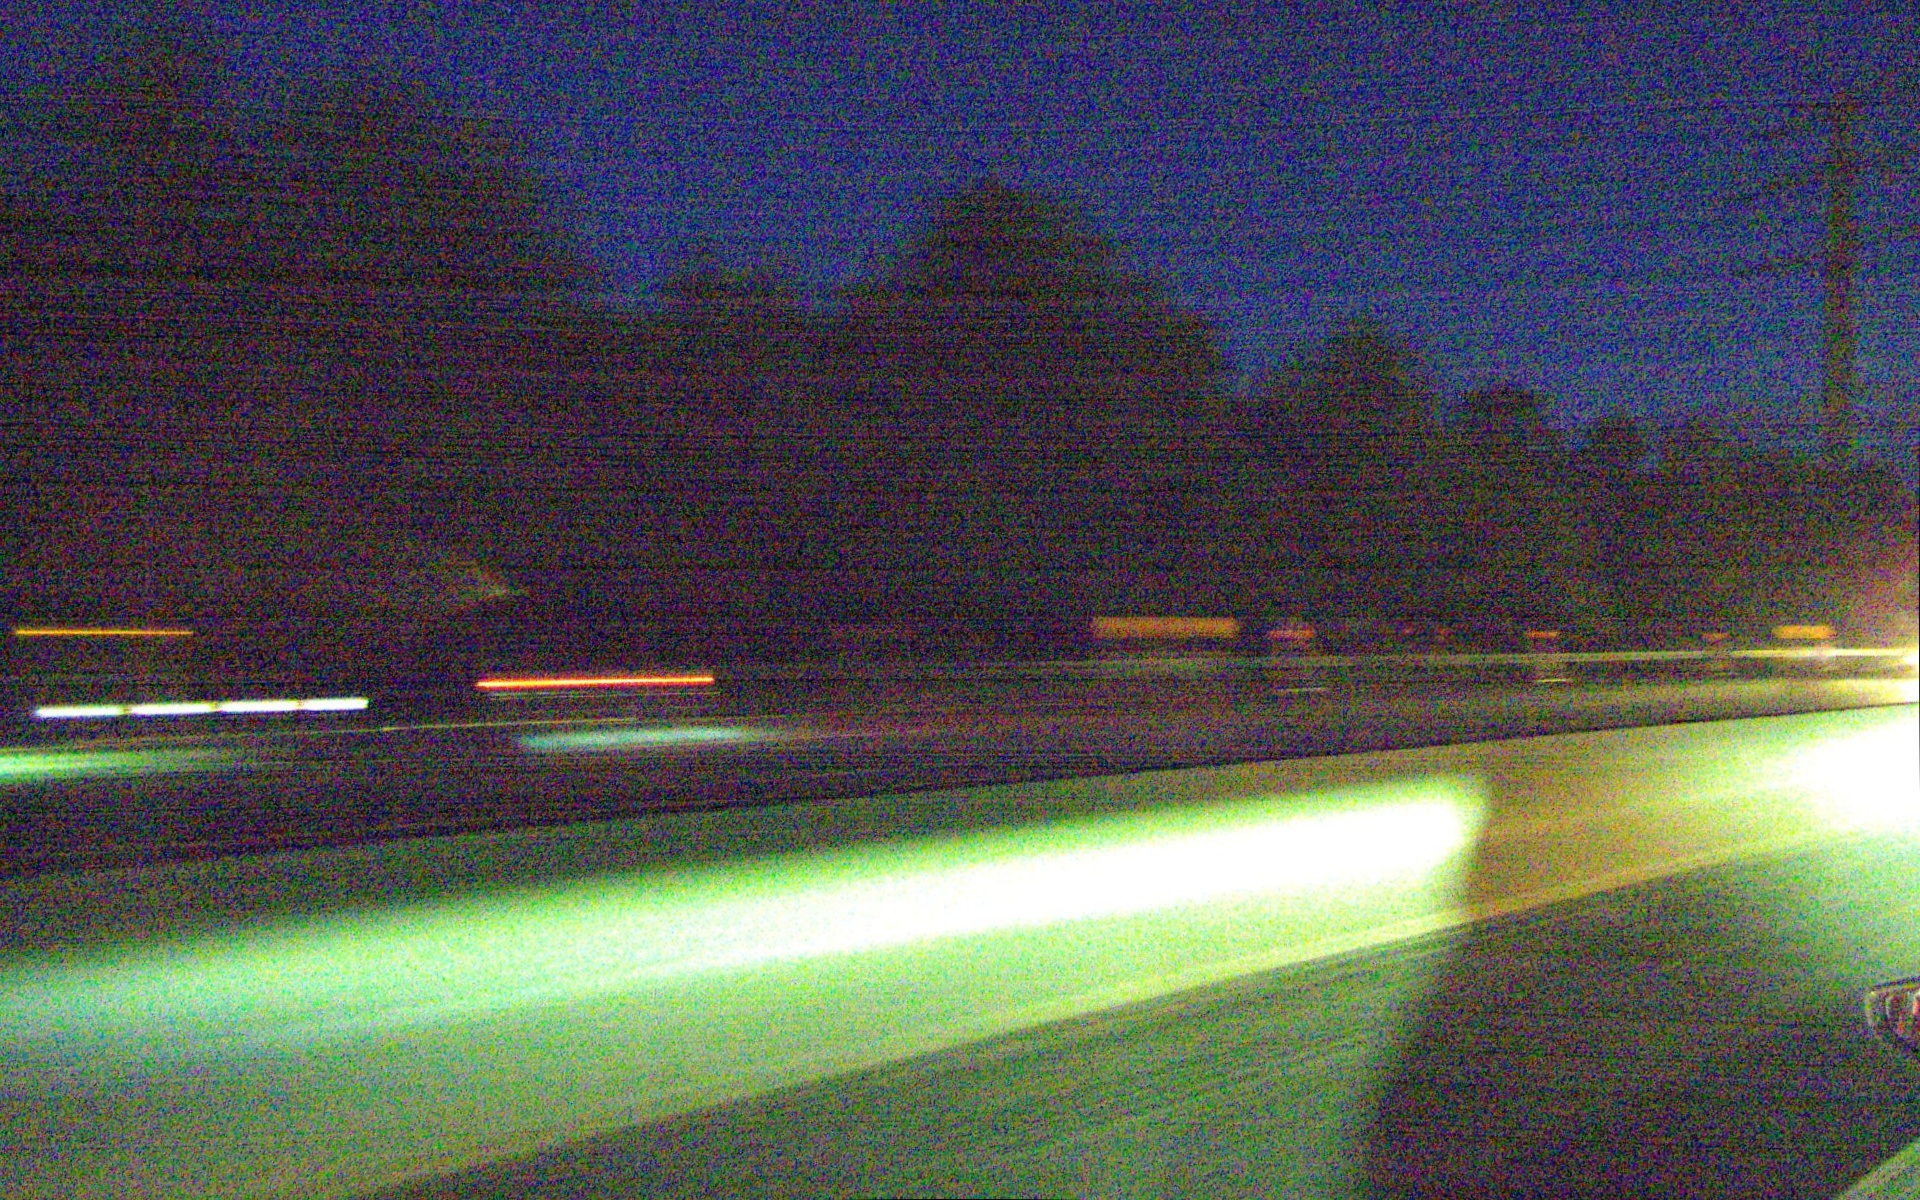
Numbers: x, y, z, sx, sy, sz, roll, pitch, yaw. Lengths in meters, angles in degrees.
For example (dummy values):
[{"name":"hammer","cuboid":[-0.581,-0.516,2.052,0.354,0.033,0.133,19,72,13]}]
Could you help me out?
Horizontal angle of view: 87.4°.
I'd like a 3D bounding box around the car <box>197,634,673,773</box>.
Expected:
[{"name":"car","cuboid":[-6.114,1.141,12.195,4.822,1.412,1.623,1,-3,-32]}]
